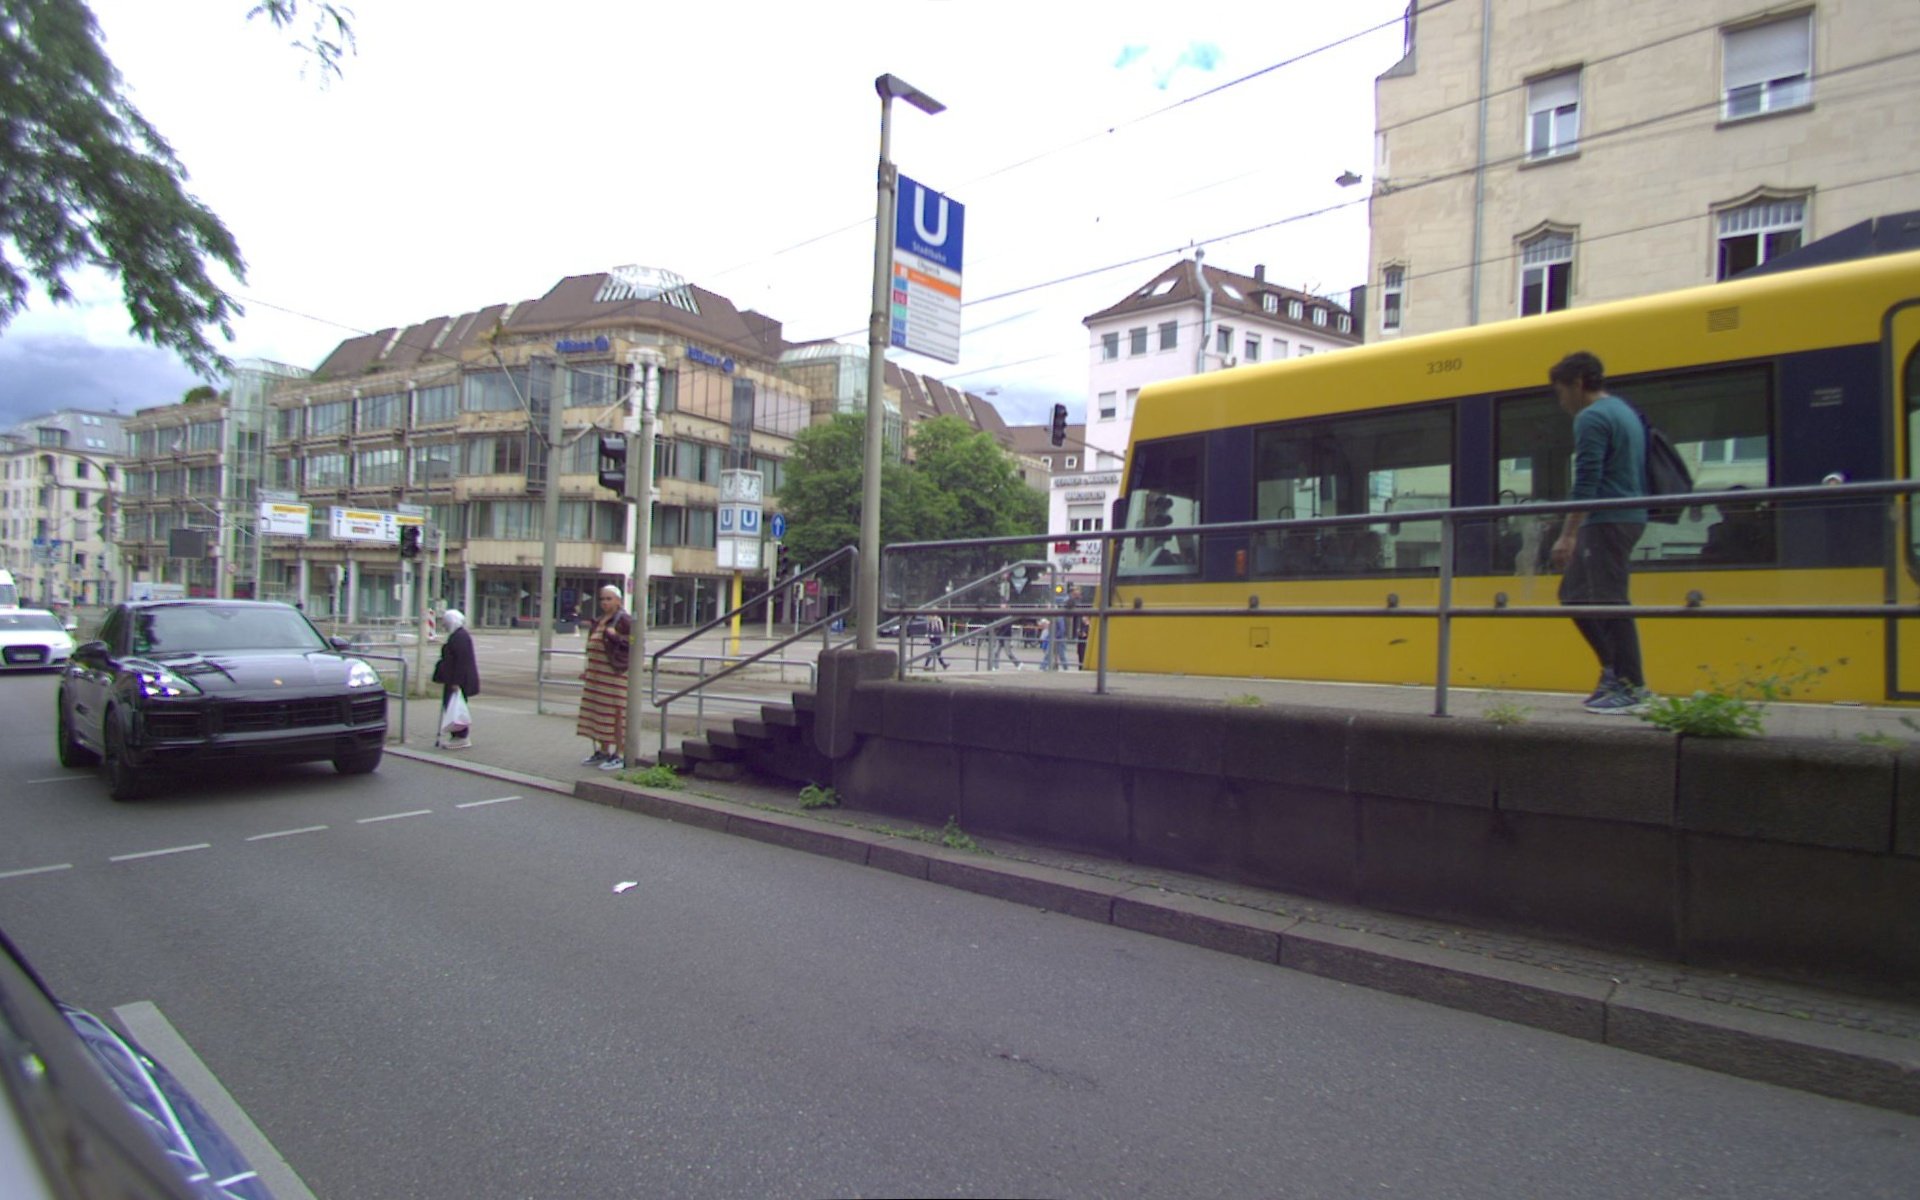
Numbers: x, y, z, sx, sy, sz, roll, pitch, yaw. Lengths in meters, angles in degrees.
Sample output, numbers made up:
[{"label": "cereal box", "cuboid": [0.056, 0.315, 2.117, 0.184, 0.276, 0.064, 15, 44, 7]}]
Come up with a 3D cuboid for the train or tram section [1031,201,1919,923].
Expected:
[{"label": "train or tram section", "cuboid": [3.709, -0.166, 8.140, 5.749, 3.707, 2.805, -1, -1, 41]}]

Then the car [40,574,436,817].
[{"label": "car", "cuboid": [-7.092, 0.702, 9.652, 5.352, 1.688, 2.060, -1, -1, 43]}]

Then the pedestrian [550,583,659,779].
[{"label": "pedestrian", "cuboid": [-3.294, 0.720, 9.383, 0.711, 1.724, 0.678, -1, -2, 40]}]

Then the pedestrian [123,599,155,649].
[{"label": "pedestrian", "cuboid": [-28.910, 0.853, 35.632, 0.637, 1.734, 0.756, 0, -1, 40]}]

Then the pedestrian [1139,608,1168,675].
[{"label": "pedestrian", "cuboid": [5.220, 1.112, 27.303, 0.577, 1.793, 0.504, 0, -1, 43]}]

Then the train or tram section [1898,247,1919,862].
[{"label": "train or tram section", "cuboid": [8.031, -0.201, 4.326, 5.749, 3.547, 2.805, -1, -1, 41]}]

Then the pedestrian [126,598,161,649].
[{"label": "pedestrian", "cuboid": [-28.313, 0.798, 35.107, 0.772, 1.734, 0.783, 0, -1, 40]}]

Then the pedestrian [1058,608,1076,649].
[{"label": "pedestrian", "cuboid": [4.628, 1.227, 43.766, 0.567, 1.793, 0.513, 1, -1, -23]}]

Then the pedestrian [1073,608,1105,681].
[{"label": "pedestrian", "cuboid": [3.215, 1.099, 25.244, 0.503, 1.793, 0.578, 1, -1, -35]}]

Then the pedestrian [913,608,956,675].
[{"label": "pedestrian", "cuboid": [-0.663, 1.065, 26.318, 0.862, 1.718, 0.815, 1, -1, -20]}]

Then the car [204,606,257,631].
[{"label": "car", "cuboid": [-54.026, 1.365, 74.967, 4.770, 1.772, 1.659, 0, 0, 34]}]

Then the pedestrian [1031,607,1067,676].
[{"label": "pedestrian", "cuboid": [2.342, 1.083, 26.597, 0.699, 1.793, 0.597, 1, -1, -33]}]

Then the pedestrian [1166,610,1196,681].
[{"label": "pedestrian", "cuboid": [5.652, 1.153, 25.855, 0.502, 1.793, 0.579, 1, -1, -19]}]

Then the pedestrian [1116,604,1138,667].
[{"label": "pedestrian", "cuboid": [4.869, 1.032, 29.442, 0.508, 1.793, 0.572, 0, -1, 22]}]

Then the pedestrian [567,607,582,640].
[{"label": "pedestrian", "cuboid": [-21.106, 1.267, 55.393, 0.577, 1.793, 0.504, 0, -1, 43]}]

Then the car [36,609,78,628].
[{"label": "car", "cuboid": [-77.111, 1.598, 86.404, 4.524, 1.564, 1.643, 0, -1, 34]}]

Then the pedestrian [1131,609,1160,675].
[{"label": "pedestrian", "cuboid": [5.105, 1.144, 27.840, 0.504, 1.793, 0.577, 2, -1, -43]}]

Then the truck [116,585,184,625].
[{"label": "truck", "cuboid": [-67.416, 0.375, 84.169, 7.356, 3.099, 2.247, 1, -3, 35]}]

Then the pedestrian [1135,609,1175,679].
[{"label": "pedestrian", "cuboid": [5.097, 1.133, 26.454, 0.777, 1.793, 0.670, 1, -1, -19]}]

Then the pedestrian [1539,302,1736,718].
[{"label": "pedestrian", "cuboid": [3.168, -0.378, 4.725, 0.670, 1.744, 0.710, 0, 0, 42]}]

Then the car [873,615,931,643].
[{"label": "car", "cuboid": [-3.504, 1.765, 62.337, 1.940, 1.542, 3.966, 0, 0, 25]}]

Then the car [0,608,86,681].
[{"label": "car", "cuboid": [-22.215, 0.978, 23.713, 3.995, 1.542, 1.926, 0, 0, 38]}]

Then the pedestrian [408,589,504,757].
[{"label": "pedestrian", "cuboid": [-5.463, 0.764, 10.971, 0.871, 1.724, 0.629, -1, -2, 41]}]

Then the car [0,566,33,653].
[{"label": "car", "cuboid": [-33.113, 0.276, 33.924, 5.936, 2.780, 2.253, 0, 0, 40]}]

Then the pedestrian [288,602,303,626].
[{"label": "pedestrian", "cuboid": [-51.214, 1.095, 77.980, 0.738, 1.825, 0.724, 0, 0, 35]}]
